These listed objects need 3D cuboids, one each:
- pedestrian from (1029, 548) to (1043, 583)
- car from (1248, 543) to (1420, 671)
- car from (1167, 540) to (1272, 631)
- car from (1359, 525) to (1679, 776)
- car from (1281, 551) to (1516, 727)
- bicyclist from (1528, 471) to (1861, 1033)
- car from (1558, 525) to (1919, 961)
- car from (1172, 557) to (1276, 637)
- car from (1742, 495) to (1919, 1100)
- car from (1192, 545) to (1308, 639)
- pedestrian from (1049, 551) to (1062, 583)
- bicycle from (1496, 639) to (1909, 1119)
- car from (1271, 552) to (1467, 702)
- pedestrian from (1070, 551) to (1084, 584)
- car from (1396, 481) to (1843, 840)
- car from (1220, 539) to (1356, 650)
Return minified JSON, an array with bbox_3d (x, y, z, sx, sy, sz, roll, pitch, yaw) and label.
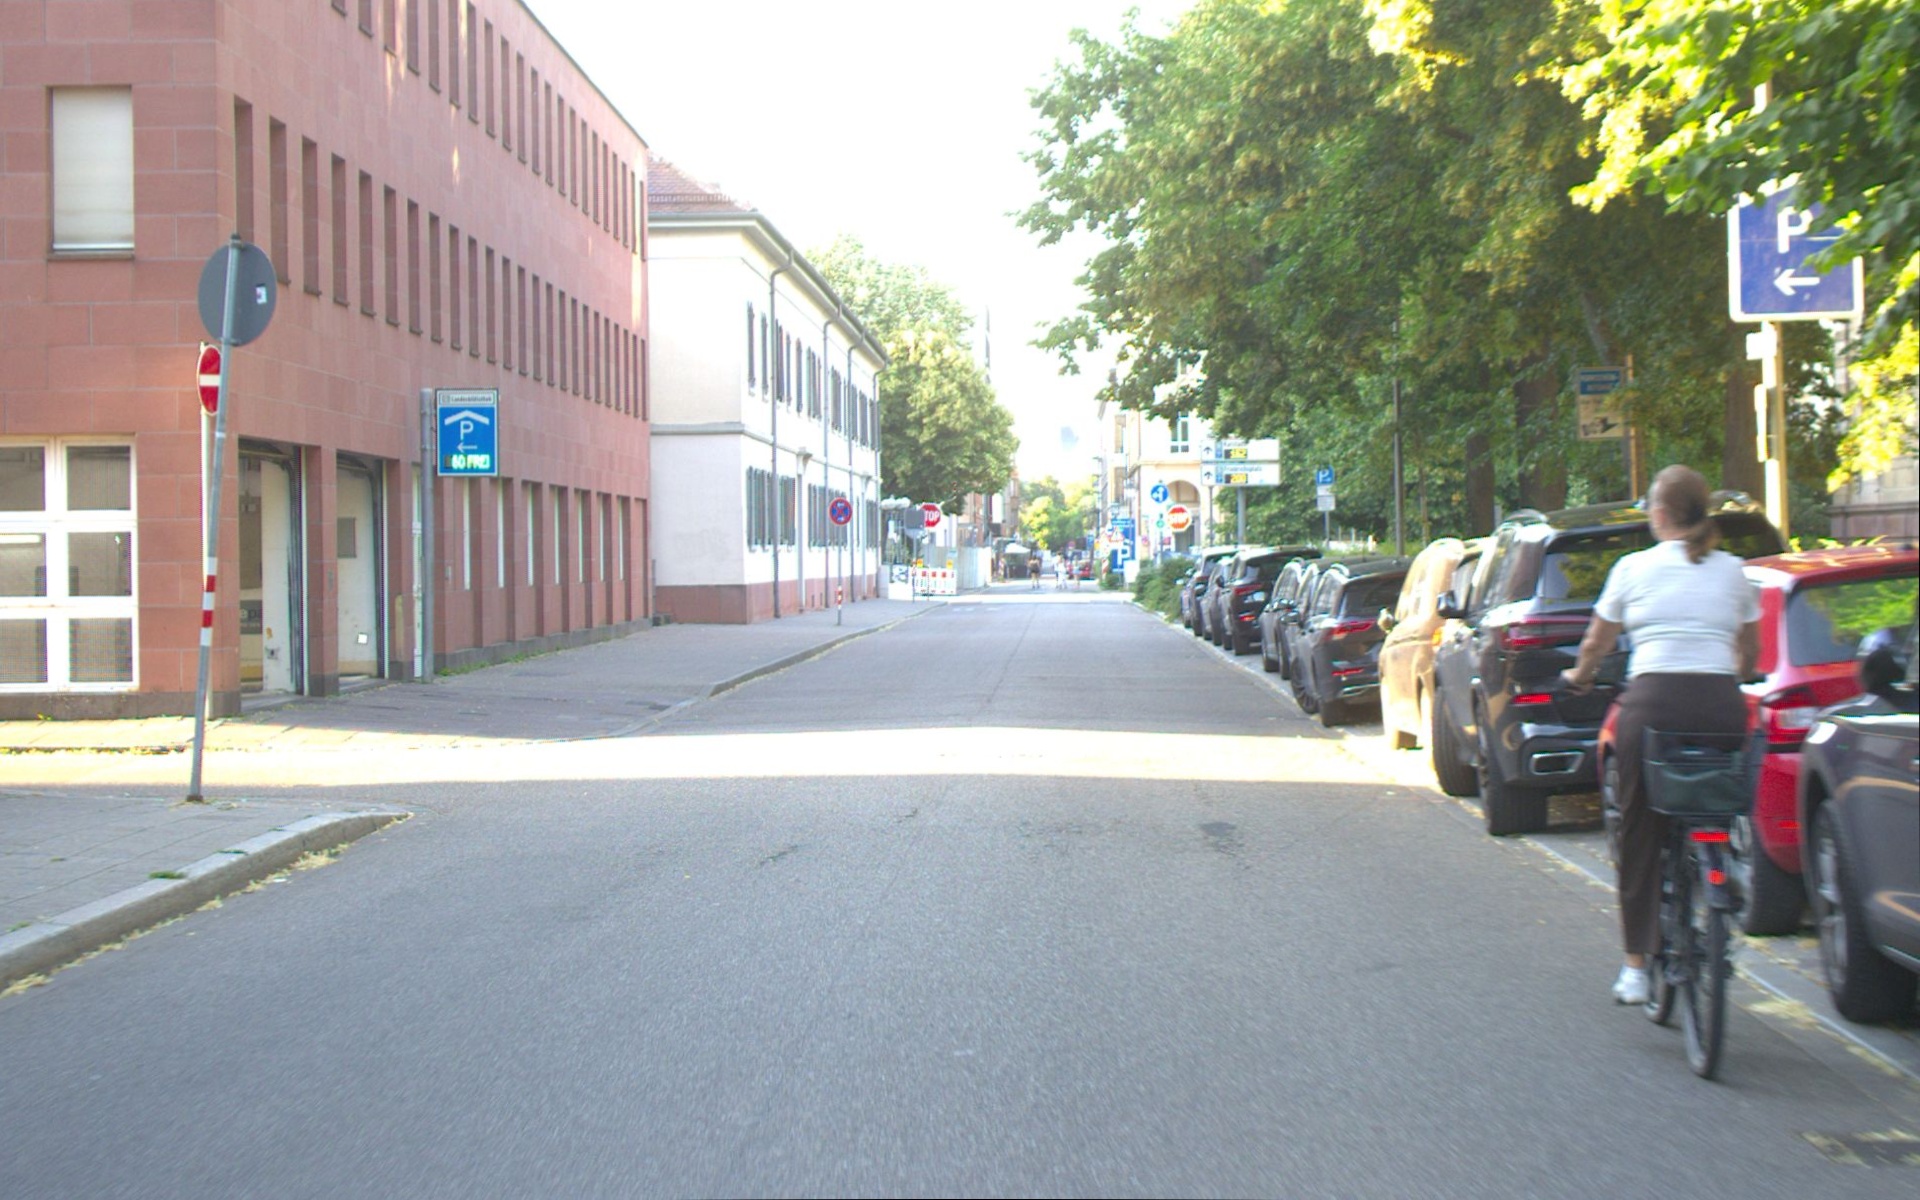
[{"bbox_3d":[3.884,-1.736,174.772,0.657,1.754,0.745,-1,0,3],"label":"pedestrian"},{"bbox_3d":[4.657,0.088,43.335,1.735,1.501,4.522,-1,0,1],"label":"car"},{"bbox_3d":[4.918,-0.266,65.718,1.724,1.646,4.713,-1,0,1],"label":"car"},{"bbox_3d":[4.072,0.348,25.694,1.724,1.677,4.499,-1,0,1],"label":"car"},{"bbox_3d":[4.104,0.352,32.823,1.724,1.528,4.623,-1,0,1],"label":"car"},{"bbox_3d":[2.207,0.430,10.443,0.751,1.607,1.038,-1,1,-1],"label":"bicyclist"},{"bbox_3d":[3.780,0.517,14.569,1.724,1.583,3.969,-1,0,-1],"label":"car"},{"bbox_3d":[5.470,-0.070,71.640,1.724,1.483,4.610,-4,0,0],"label":"car"},{"bbox_3d":[3.597,0.532,9.537,1.881,1.682,4.695,-1,0,2],"label":"car"},{"bbox_3d":[4.986,-0.128,59.567,1.724,1.533,4.189,-1,0,1],"label":"car"},{"bbox_3d":[4.846,-1.682,174.775,0.657,1.630,0.745,-1,0,2],"label":"pedestrian"},{"bbox_3d":[2.221,0.784,10.590,0.751,1.248,2.210,-1,1,-1],"label":"bicycle"},{"bbox_3d":[4.447,0.283,37.896,1.724,1.528,4.189,-1,0,1],"label":"car"},{"bbox_3d":[5.848,-1.619,172.225,0.657,1.611,0.745,-1,0,2],"label":"pedestrian"},{"bbox_3d":[3.693,0.319,20.106,1.805,1.807,4.947,-1,0,2],"label":"car"},{"bbox_3d":[5.160,-0.076,54.531,1.807,1.646,4.418,-1,0,1],"label":"car"}]
